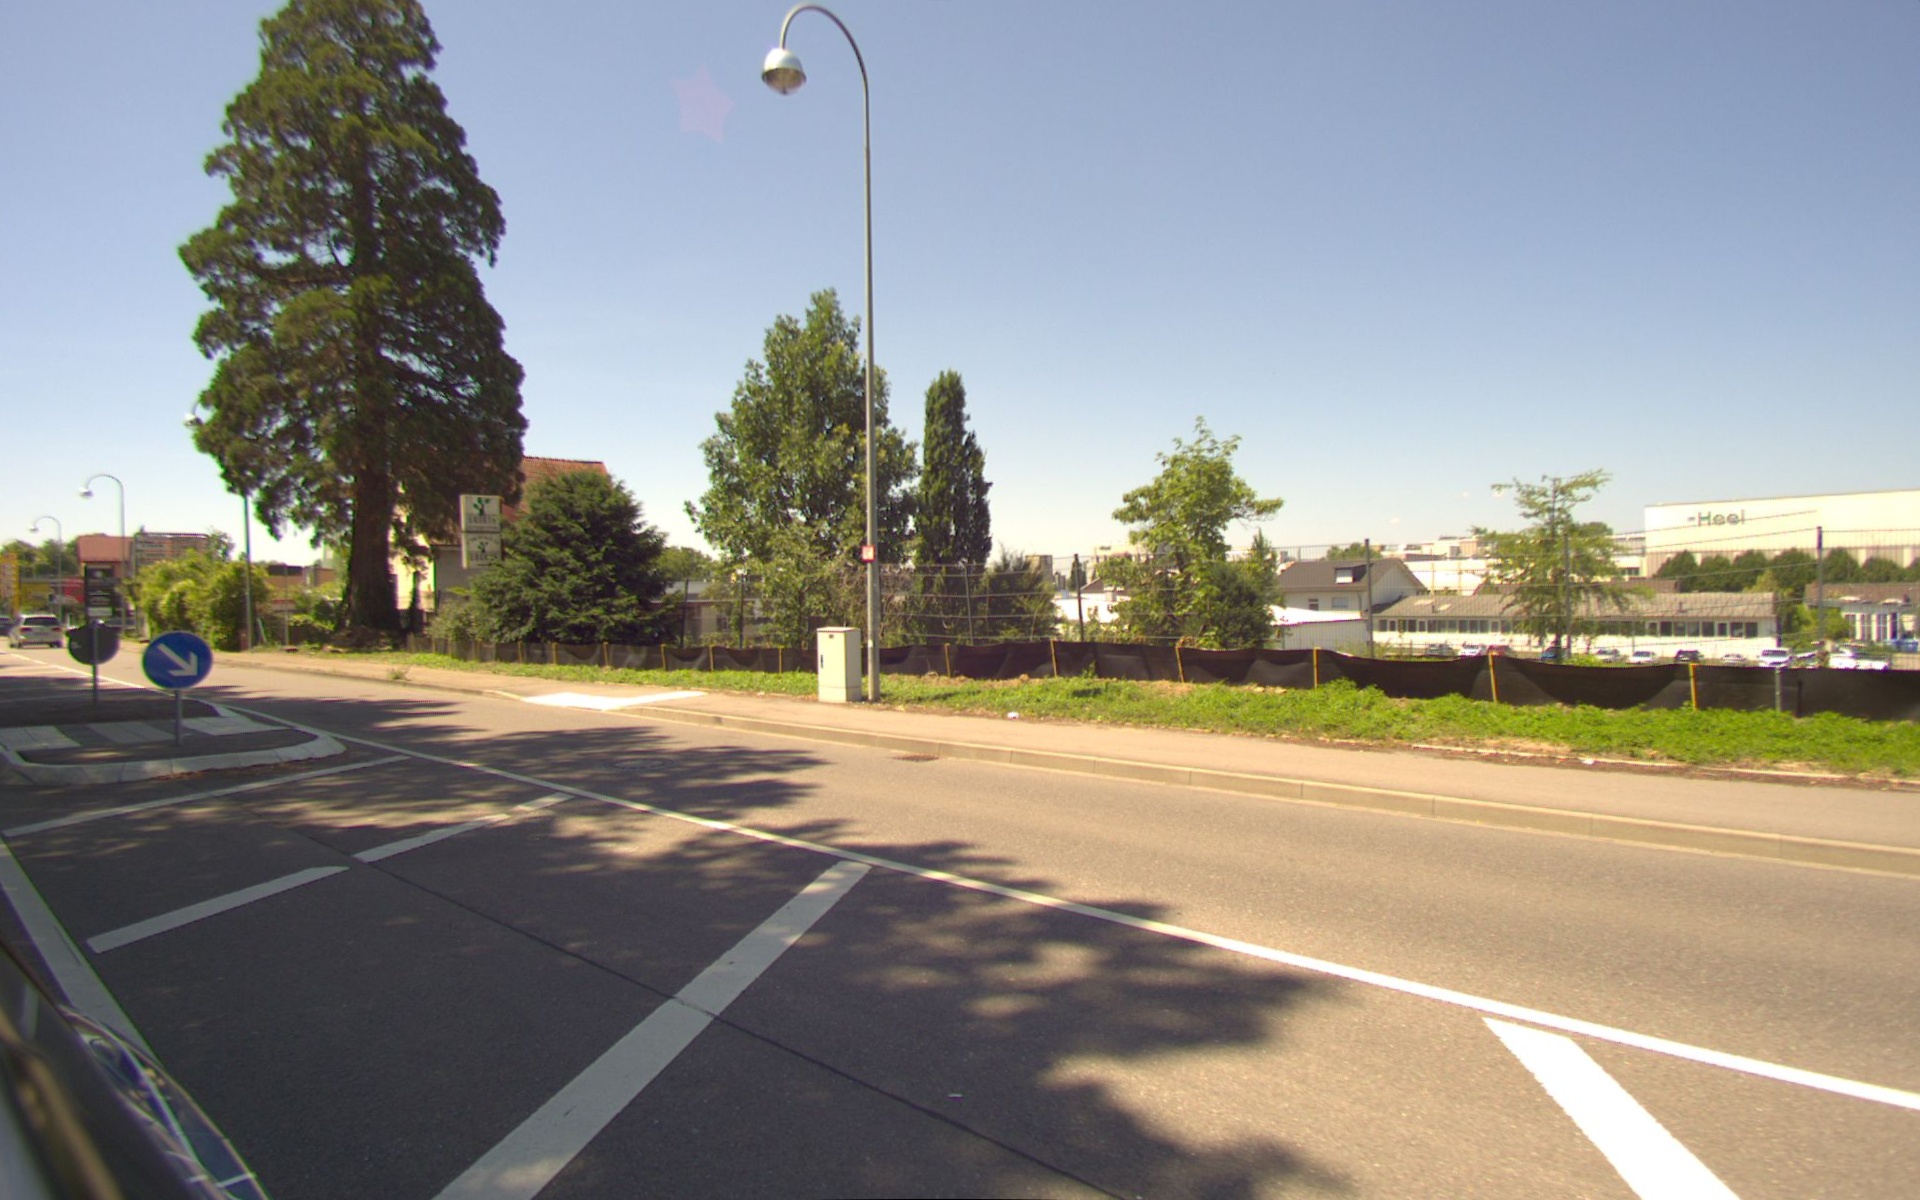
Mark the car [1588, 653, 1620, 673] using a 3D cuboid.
[{"bbox_3d":[56.820,5.513,89.244,1.998,1.519,3.948,-1,-1,39],"label":"car"}]

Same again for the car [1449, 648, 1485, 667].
[{"bbox_3d":[48.806,5.502,97.461,2.001,1.586,3.942,-1,0,44],"label":"car"}]

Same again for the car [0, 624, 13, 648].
[{"bbox_3d":[-63.598,2.374,66.353,4.319,1.561,1.859,-1,-1,42],"label":"car"}]

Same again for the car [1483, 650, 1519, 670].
[{"bbox_3d":[50.854,5.618,95.142,2.001,1.586,3.942,-1,0,44],"label":"car"}]

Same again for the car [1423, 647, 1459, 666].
[{"bbox_3d":[47.090,5.522,99.094,2.001,1.586,3.942,-1,0,44],"label":"car"}]

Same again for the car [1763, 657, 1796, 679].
[{"bbox_3d":[65.419,5.374,80.827,1.998,1.519,3.948,-1,-1,39],"label":"car"}]

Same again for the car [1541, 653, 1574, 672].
[{"bbox_3d":[53.350,5.559,90.369,1.998,1.519,3.948,-1,-1,39],"label":"car"}]

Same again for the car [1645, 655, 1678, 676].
[{"bbox_3d":[59.003,5.468,85.123,1.998,1.519,3.948,-1,-1,39],"label":"car"}]

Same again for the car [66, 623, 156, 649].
[{"bbox_3d":[-55.756,2.328,66.565,4.246,1.561,1.891,-1,-1,-29],"label":"car"}]

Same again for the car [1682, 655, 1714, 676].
[{"bbox_3d":[61.449,5.435,84.232,1.998,1.519,3.948,-1,-1,39],"label":"car"}]

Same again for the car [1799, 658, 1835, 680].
[{"bbox_3d":[66.789,5.348,78.909,1.998,1.519,3.948,-1,-1,39],"label":"car"}]

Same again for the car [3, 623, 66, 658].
[{"bbox_3d":[-45.838,1.979,50.088,4.686,1.657,1.764,-1,-2,41],"label":"car"}]
